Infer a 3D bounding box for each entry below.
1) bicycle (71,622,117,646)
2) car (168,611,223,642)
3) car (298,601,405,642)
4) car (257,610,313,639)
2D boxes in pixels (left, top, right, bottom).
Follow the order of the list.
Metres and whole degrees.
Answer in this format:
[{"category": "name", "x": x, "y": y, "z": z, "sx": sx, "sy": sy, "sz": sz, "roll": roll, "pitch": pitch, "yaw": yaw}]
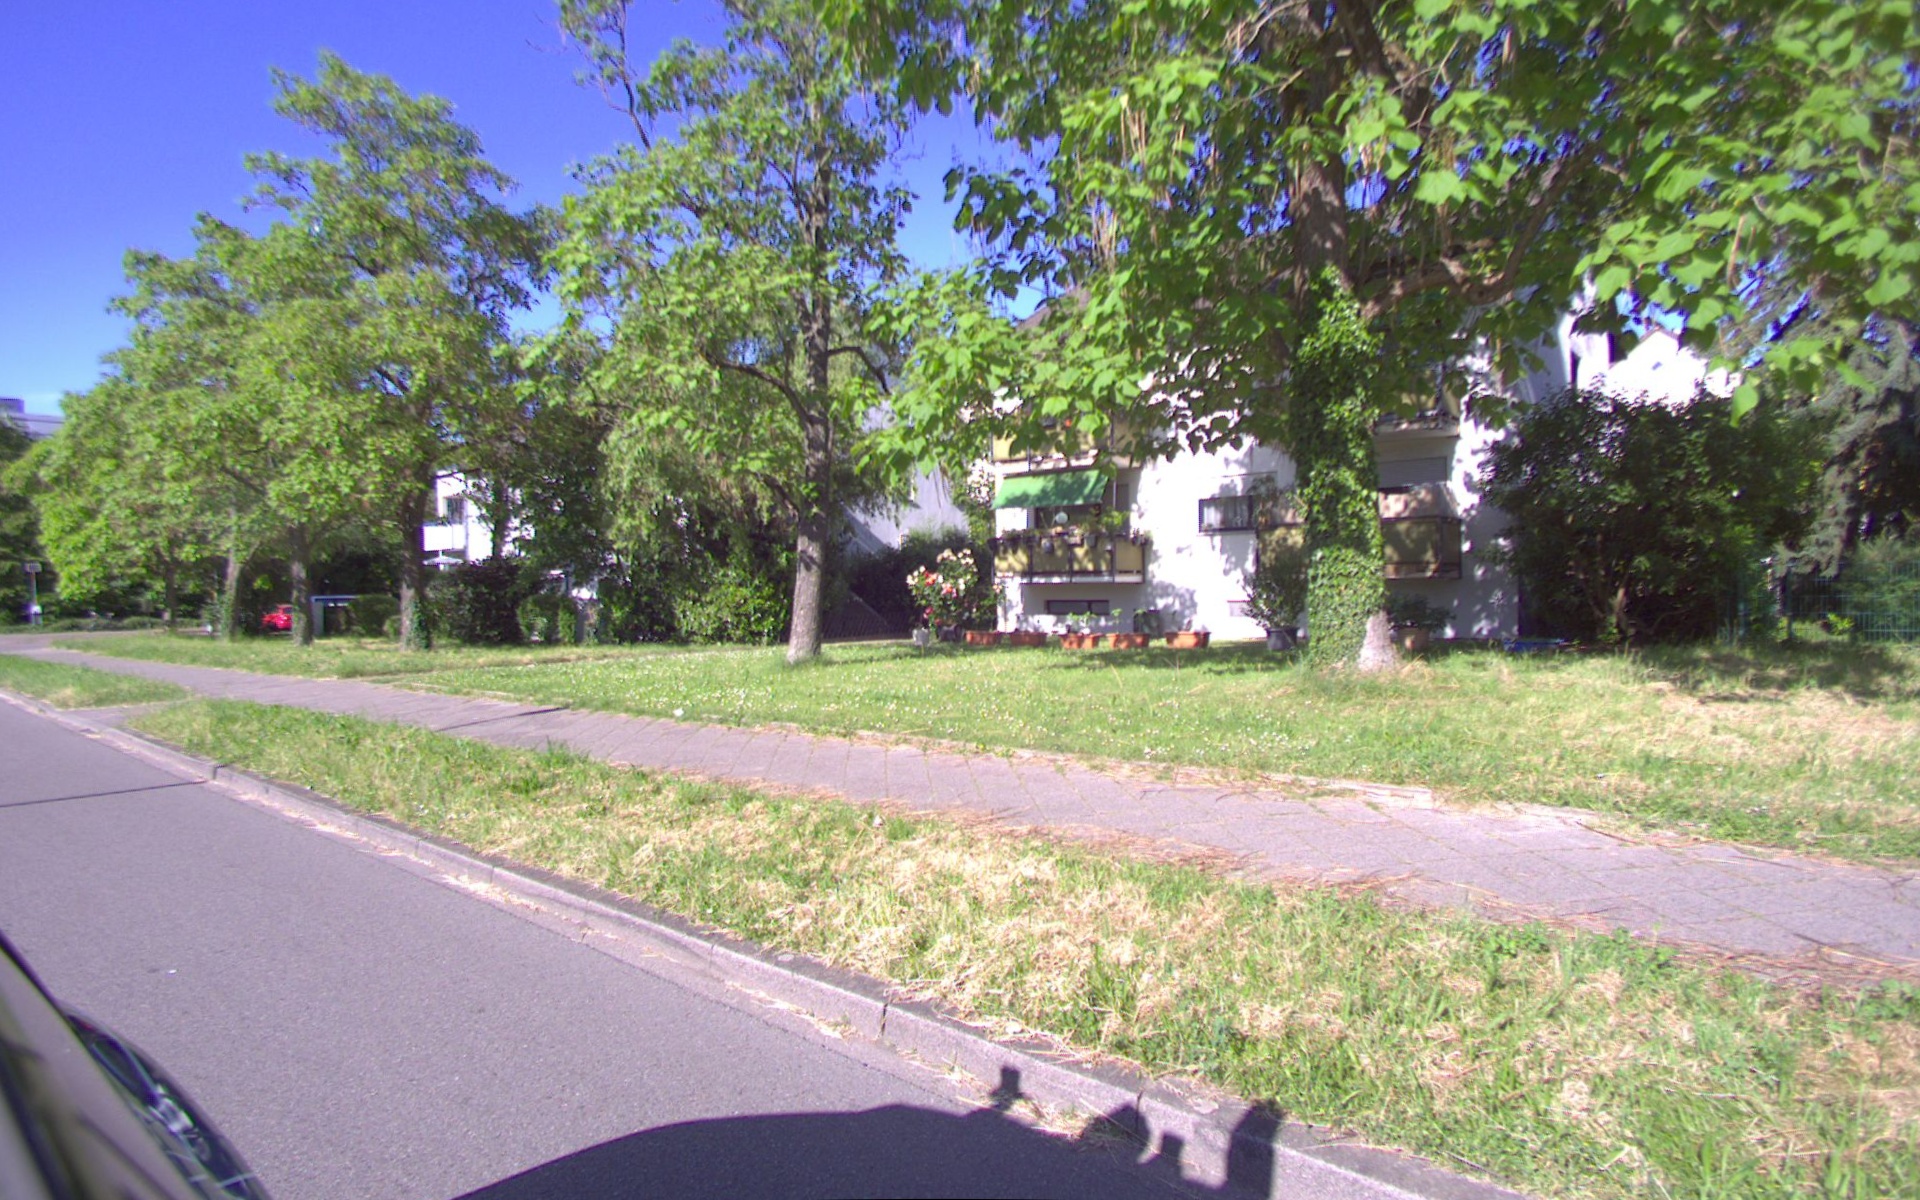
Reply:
[{"category": "bicycle", "x": -47.721, "y": 1.861, "z": 55.770, "sx": 1.875, "sy": 1.160, "sz": 0.762, "roll": -1, "pitch": 4, "yaw": -39}, {"category": "car", "x": -42.685, "y": 1.450, "z": 56.485, "sx": 3.882, "sy": 1.498, "sz": 1.653, "roll": 1, "pitch": 2, "yaw": 40}, {"category": "car", "x": -31.885, "y": 1.128, "z": 53.104, "sx": 2.069, "sy": 1.984, "sz": 4.402, "roll": -2, "pitch": -1, "yaw": 43}, {"category": "car", "x": -39.048, "y": 1.366, "z": 58.501, "sx": 3.882, "sy": 1.498, "sz": 1.653, "roll": 1, "pitch": 2, "yaw": 40}]
